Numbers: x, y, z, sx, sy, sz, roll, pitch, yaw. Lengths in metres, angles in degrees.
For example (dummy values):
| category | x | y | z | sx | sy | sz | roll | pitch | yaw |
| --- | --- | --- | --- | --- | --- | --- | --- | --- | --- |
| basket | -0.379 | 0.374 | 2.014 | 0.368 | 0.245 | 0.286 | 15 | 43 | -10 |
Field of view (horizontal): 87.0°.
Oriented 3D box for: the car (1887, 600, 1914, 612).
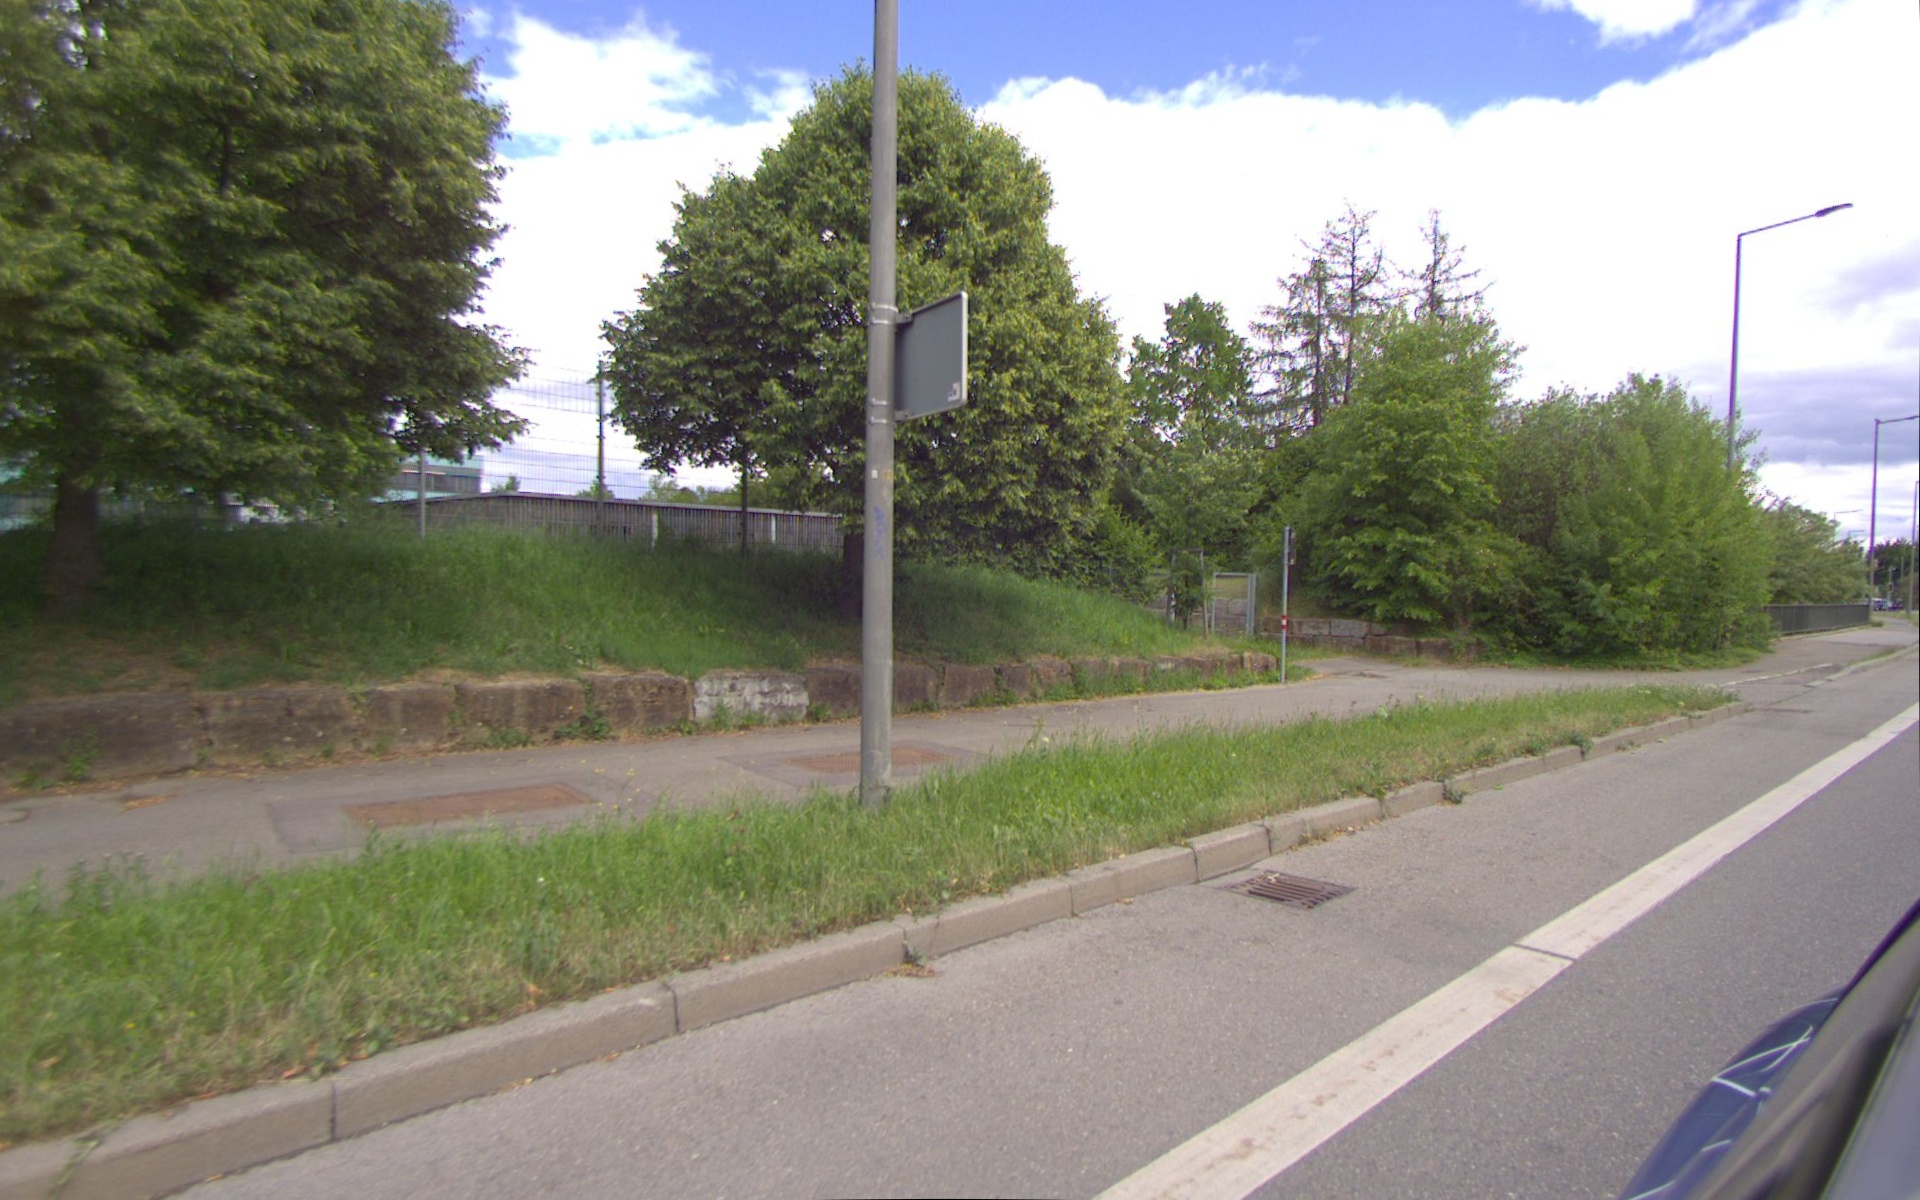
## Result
| category | x | y | z | sx | sy | sz | roll | pitch | yaw |
| --- | --- | --- | --- | --- | --- | --- | --- | --- | --- |
| car | 113.629 | 0.701 | 122.314 | 1.725 | 1.459 | 4.315 | 1 | 0 | 34 |
